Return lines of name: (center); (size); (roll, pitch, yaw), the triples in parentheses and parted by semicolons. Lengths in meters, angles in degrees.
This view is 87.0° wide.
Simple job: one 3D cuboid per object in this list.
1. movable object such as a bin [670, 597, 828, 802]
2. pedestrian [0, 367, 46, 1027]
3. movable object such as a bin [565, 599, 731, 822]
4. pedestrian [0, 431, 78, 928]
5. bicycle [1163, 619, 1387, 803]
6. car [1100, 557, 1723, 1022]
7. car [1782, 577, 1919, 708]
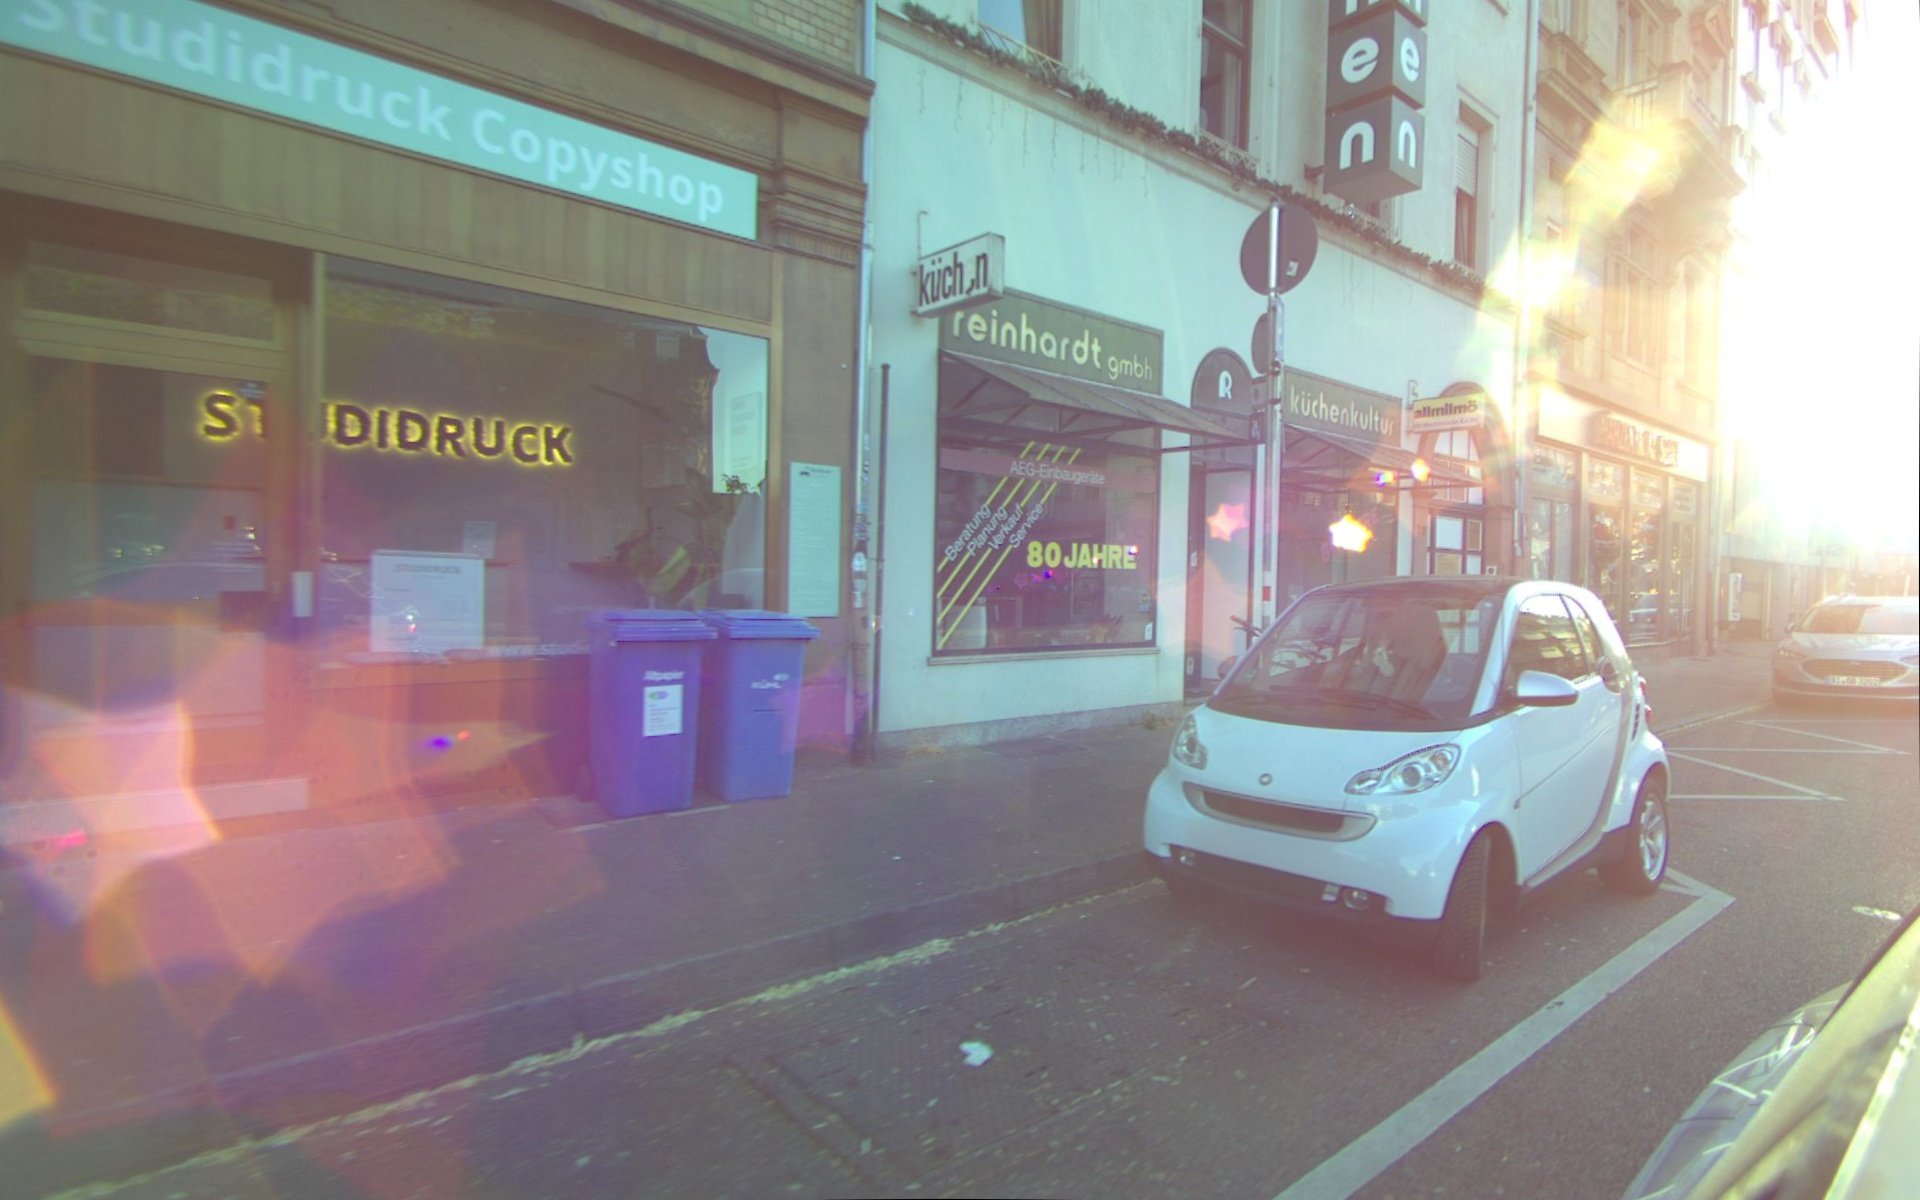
movable object such as a bin: (-1.271, 0.547, 6.055); (0.607, 1.083, 0.776); (0, 4, -40)
pedestrian: (-3.253, 0.258, 2.835); (0.993, 1.849, 0.774); (0, 3, -41)
movable object such as a bin: (-1.746, 0.562, 5.630); (0.607, 1.083, 0.776); (0, 4, -40)
pedestrian: (-3.829, 0.260, 3.597); (1.024, 1.732, 0.774); (0, 3, -41)
bicycle: (2.170, 0.674, 6.819); (1.913, 1.028, 0.505); (0, 2, -41)
car: (2.359, 0.601, 5.003); (3.224, 1.556, 1.535); (-1, 1, -39)
car: (12.835, 0.470, 13.871); (4.740, 1.556, 1.761); (-1, 0, -43)
